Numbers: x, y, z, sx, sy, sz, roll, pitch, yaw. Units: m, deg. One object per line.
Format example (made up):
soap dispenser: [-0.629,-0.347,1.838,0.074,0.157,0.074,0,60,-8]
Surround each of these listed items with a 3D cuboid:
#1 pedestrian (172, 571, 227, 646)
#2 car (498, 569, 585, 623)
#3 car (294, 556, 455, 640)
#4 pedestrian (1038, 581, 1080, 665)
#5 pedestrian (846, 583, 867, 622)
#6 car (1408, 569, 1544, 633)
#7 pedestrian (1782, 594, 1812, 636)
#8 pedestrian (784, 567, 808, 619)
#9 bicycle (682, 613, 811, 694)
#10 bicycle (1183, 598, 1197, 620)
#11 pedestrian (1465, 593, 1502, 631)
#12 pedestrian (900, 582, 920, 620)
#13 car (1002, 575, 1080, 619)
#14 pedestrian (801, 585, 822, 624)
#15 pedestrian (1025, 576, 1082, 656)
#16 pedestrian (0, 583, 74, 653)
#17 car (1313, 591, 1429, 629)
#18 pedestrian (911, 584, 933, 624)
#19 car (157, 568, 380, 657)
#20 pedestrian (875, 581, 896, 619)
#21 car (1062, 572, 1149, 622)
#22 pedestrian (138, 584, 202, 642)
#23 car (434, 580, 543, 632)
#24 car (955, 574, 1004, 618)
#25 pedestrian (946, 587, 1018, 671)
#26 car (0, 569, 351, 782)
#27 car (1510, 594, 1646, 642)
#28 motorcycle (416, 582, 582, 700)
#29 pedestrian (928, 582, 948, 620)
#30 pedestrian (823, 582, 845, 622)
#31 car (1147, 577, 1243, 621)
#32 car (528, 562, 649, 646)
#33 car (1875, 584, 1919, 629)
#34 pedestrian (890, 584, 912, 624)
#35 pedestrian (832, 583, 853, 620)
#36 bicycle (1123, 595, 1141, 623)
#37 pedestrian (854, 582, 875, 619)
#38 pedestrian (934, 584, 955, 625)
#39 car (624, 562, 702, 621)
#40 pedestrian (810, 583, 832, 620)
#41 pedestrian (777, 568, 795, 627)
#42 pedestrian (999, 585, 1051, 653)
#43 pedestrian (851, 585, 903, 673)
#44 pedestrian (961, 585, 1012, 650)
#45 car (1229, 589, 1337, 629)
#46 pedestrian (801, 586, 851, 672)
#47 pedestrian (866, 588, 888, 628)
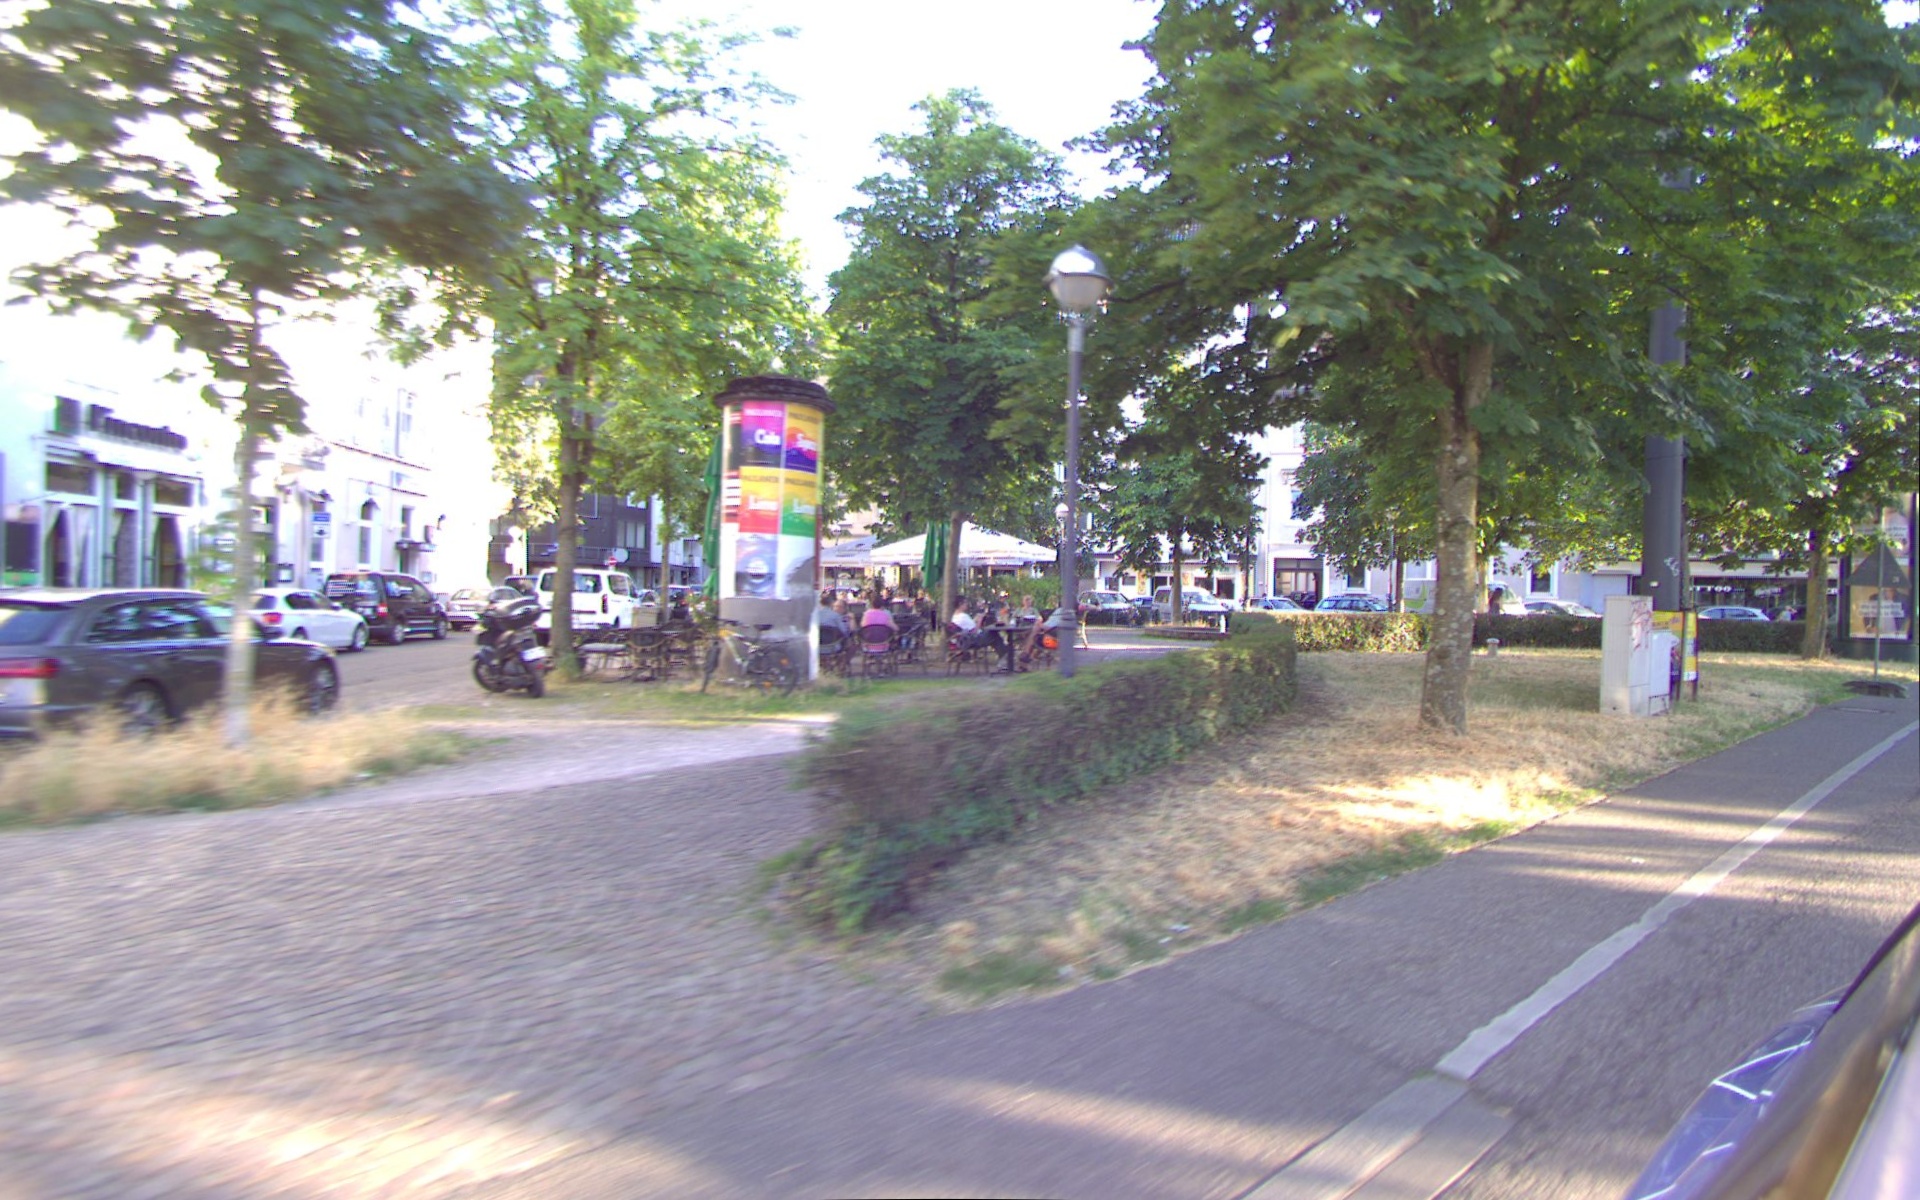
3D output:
pedestrian: [-16.439,0.167,21.891,0.673,1.588,0.736,1,0,-6]
car: [-16.248,-0.164,39.514,1.982,1.988,4.518,0,0,-7]
car: [-15.019,-0.070,26.276,1.982,1.988,4.518,0,0,-7]
pedestrian: [1.524,0.346,15.582,0.602,1.260,0.568,1,1,4]
pedestrian: [-3.011,0.059,29.510,0.452,1.131,0.555,0,0,14]
car: [19.389,0.031,38.346,2.051,2.269,4.889,1,0,-10]
pedestrian: [36.075,0.640,43.617,0.784,1.823,0.635,1,-1,18]
pedestrian: [-5.112,-0.220,31.571,0.521,1.599,0.637,0,0,14]
bicycle: [-2.678,0.649,12.686,1.509,0.941,0.552,1,0,17]
bicycle: [8.385,0.320,36.848,0.440,0.789,1.268,1,1,16]
pedestrian: [17.879,0.396,34.589,0.949,1.241,1.362,1,0,20]
pedestrian: [-1.503,0.041,30.467,0.486,1.131,0.555,0,0,14]
car: [3.394,-0.119,43.205,1.872,1.796,4.008,1,0,-19]
pedestrian: [-4.310,0.133,29.385,0.452,1.131,0.528,0,0,14]
pedestrian: [1.677,0.272,18.082,0.998,1.372,0.731,0,1,7]
pedestrian: [-17.471,0.323,19.094,0.673,1.261,1.028,1,1,-6]
car: [15.983,0.366,39.548,1.958,1.416,4.007,1,0,-23]
pedestrian: [-1.084,0.111,28.935,0.486,1.131,0.555,0,0,14]
car: [-14.167,0.214,21.122,1.982,1.637,4.518,0,0,-7]
pedestrian: [-2.257,0.001,30.734,0.486,1.131,0.555,0,0,14]
car: [6.136,-0.124,43.203,1.958,2.039,4.008,1,0,-21]
pedestrian: [-17.587,0.271,22.543,0.673,1.261,1.028,1,1,-6]
car: [-15.597,0.168,33.768,1.982,1.591,4.518,0,0,-7]
car: [0.776,-0.157,43.583,1.875,1.796,4.001,1,0,-2]
pedestrian: [0.334,0.444,15.649,0.968,1.258,0.781,1,0,-9]
car: [-7.769,0.495,9.540,1.704,1.533,4.680,1,1,-7]
car: [22.438,0.616,36.922,1.911,1.624,4.008,1,0,-16]
motorcycle: [-5.900,0.485,12.903,2.229,1.385,0.940,-1,-1,35]
pedestrian: [-0.660,0.022,30.346,0.486,1.131,0.555,0,0,14]
pedestrian: [-3.646,0.053,29.334,0.452,1.131,0.555,0,0,14]
car: [9.619,-0.037,41.727,1.958,1.727,4.008,1,0,-21]
car: [-9.781,0.070,27.010,1.960,2.039,4.441,0,0,-5]
car: [41.066,0.281,41.942,4.173,1.806,1.922,1,2,18]
pedestrian: [-1.686,0.102,29.132,0.486,1.131,0.555,0,0,14]
pedestrian: [-3.603,0.044,30.983,0.486,1.131,0.555,0,0,14]
bicycle: [6.489,0.341,38.153,0.321,1.008,1.463,1,1,22]
pedestrian: [-2.910,0.018,30.875,0.486,1.131,0.555,0,0,14]
pedestrian: [-0.437,0.124,28.679,0.486,1.131,0.555,0,0,14]
car: [-10.841,-0.313,37.258,1.960,2.039,4.441,0,0,-5]
pedestrian: [-4.276,0.033,31.104,0.486,1.131,0.555,0,0,14]
pedestrian: [-5.087,-0.087,29.541,0.382,1.706,0.329,0,1,-40]
pedestrian: [1.233,0.379,19.172,0.935,1.259,0.661,-1,-4,7]
pedestrian: [-1.273,0.459,15.432,0.649,1.301,0.953,1,-4,-14]
pedestrian: [0.536,0.343,20.036,0.935,1.258,0.662,-1,0,7]
car: [12.761,0.349,40.270,1.958,1.505,4.007,1,0,-23]
pedestrian: [-2.046,0.457,15.392,0.649,1.259,0.953,1,-4,-14]
pedestrian: [-2.375,0.221,29.000,0.452,1.131,0.555,0,0,14]
